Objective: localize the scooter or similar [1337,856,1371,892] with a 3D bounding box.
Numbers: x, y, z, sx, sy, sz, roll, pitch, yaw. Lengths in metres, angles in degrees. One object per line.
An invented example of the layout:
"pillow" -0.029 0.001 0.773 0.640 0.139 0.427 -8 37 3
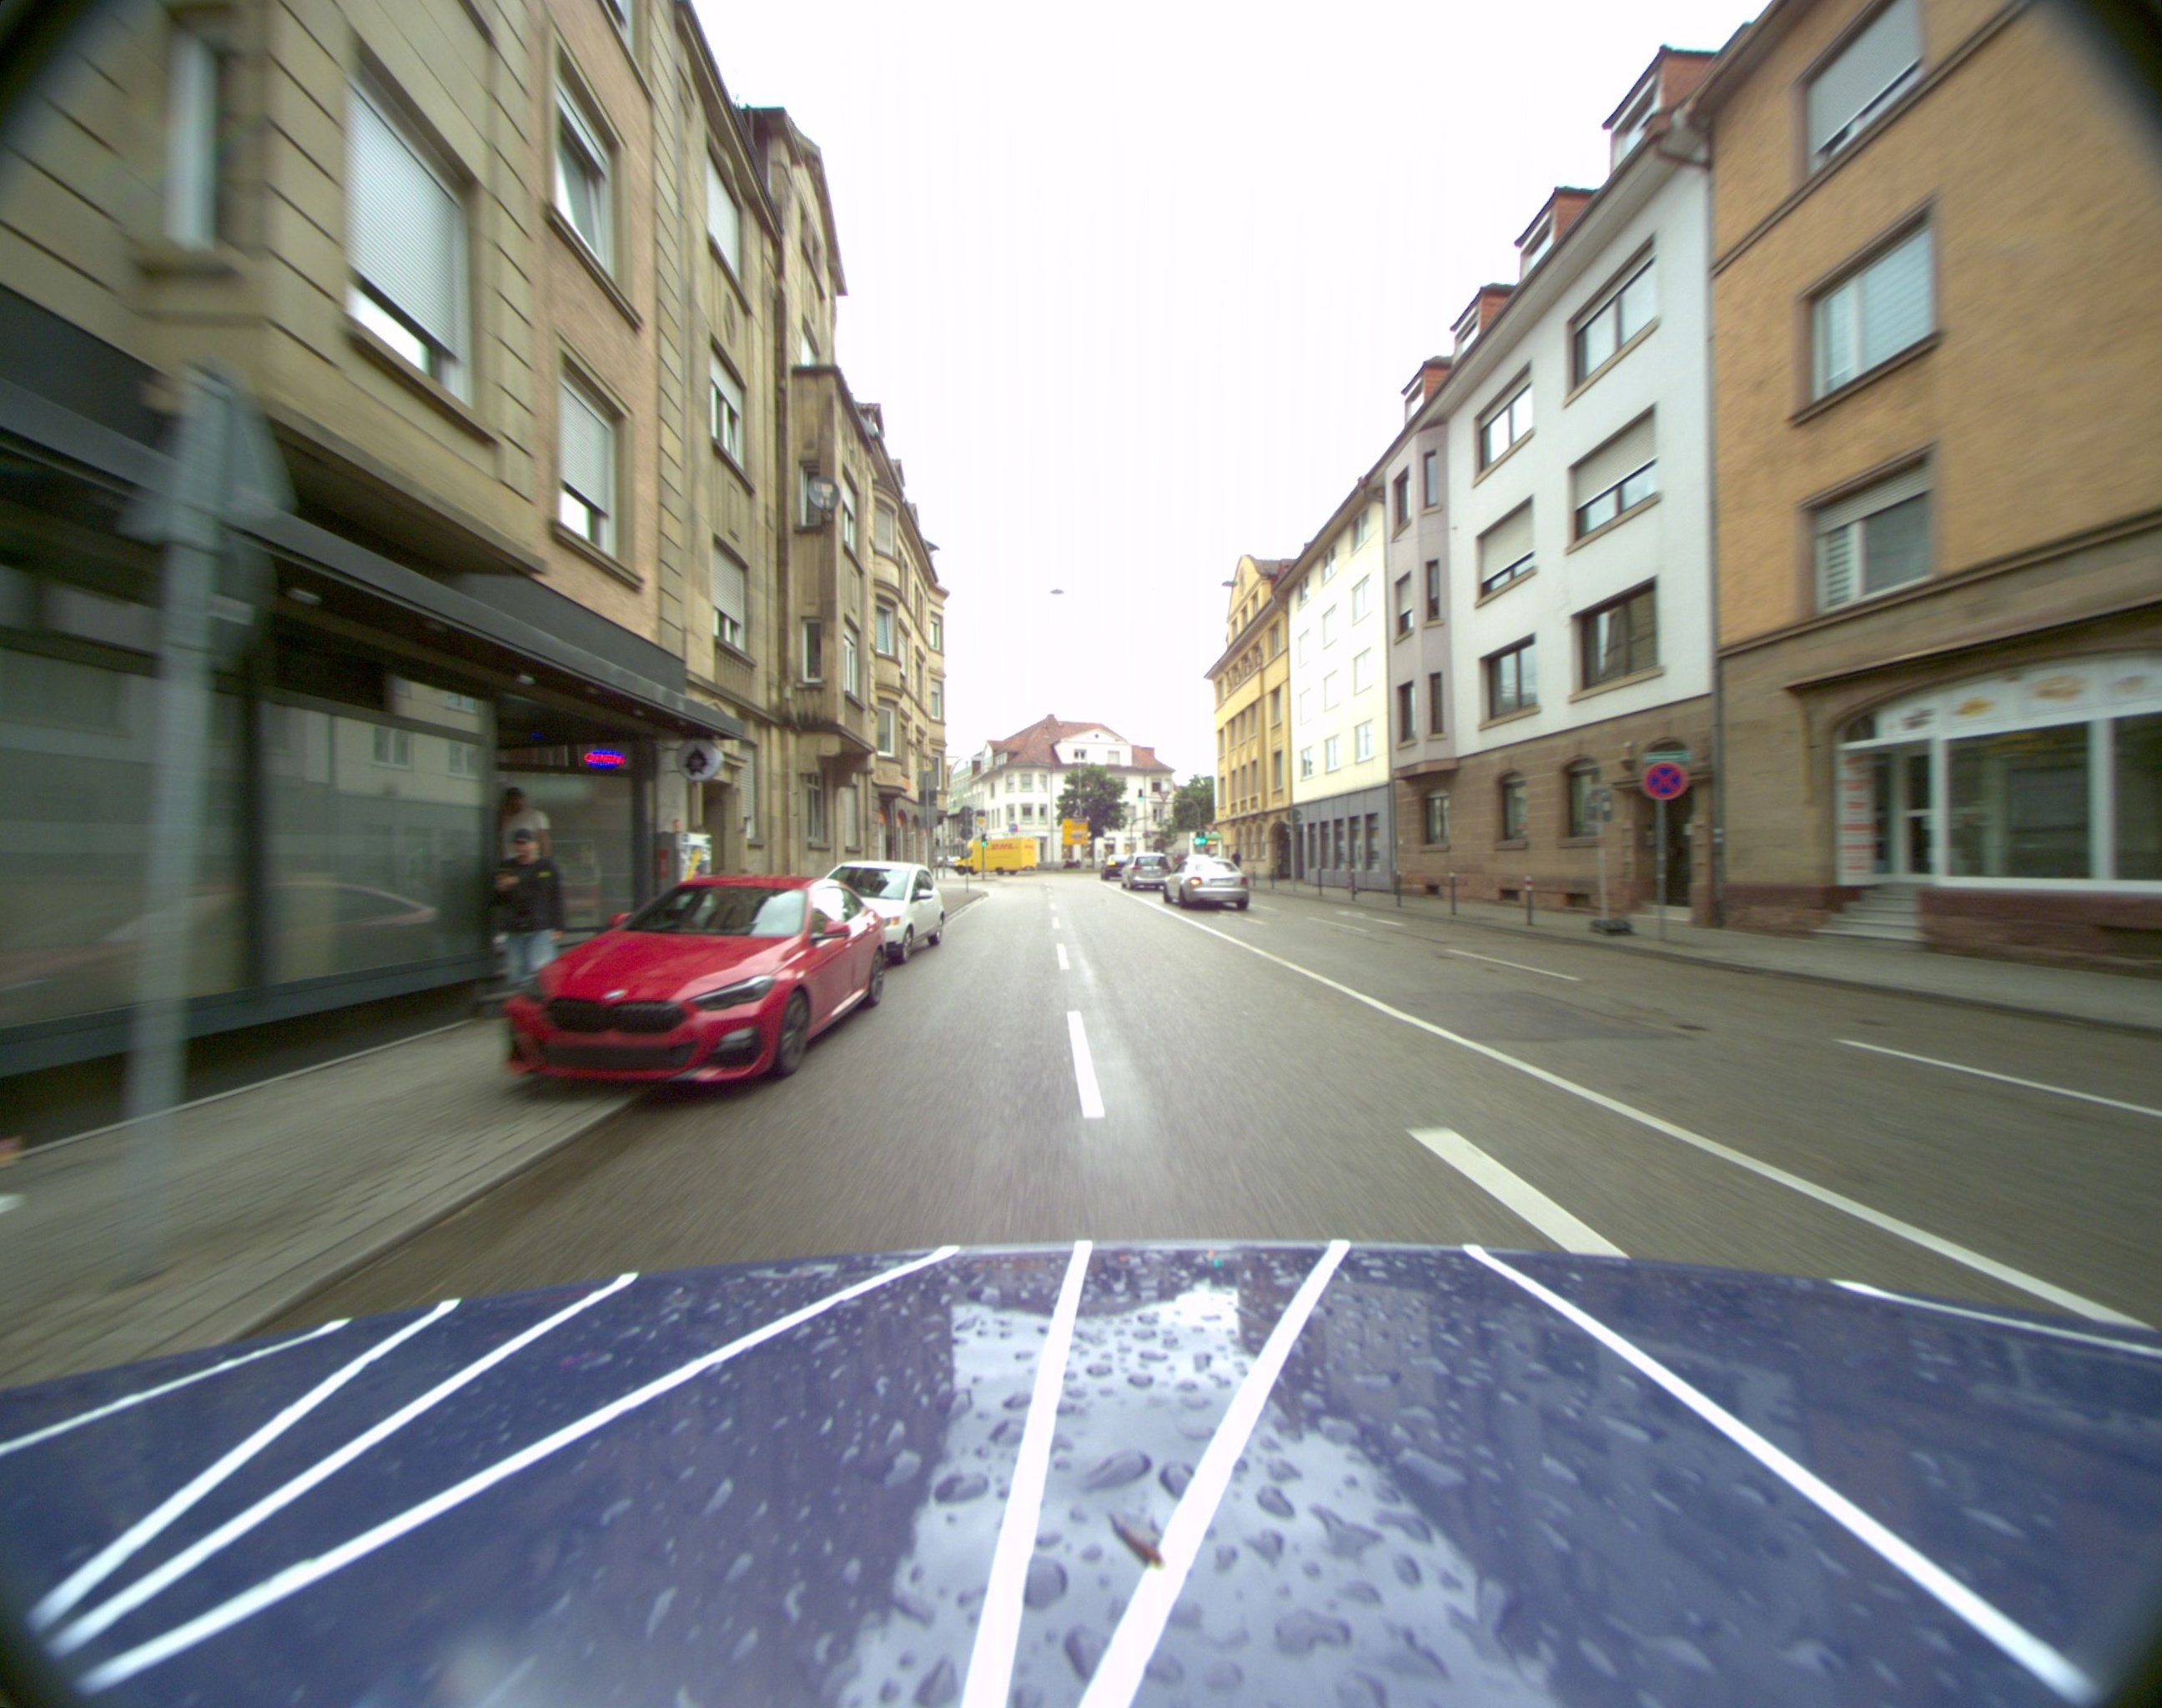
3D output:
"scooter or similar" 9.684 0.686 27.029 0.462 1.206 1.578 -5 1 -4

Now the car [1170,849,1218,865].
"car" 10.879 0.282 73.232 4.043 1.509 2.021 -1 1 -21

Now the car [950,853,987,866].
"car" -13.667 0.631 92.159 4.005 1.499 1.996 -1 1 -24

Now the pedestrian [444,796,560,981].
"pedestrian" -6.142 0.345 8.096 0.705 1.883 0.649 -1 1 -5

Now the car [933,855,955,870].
"car" -18.038 1.103 99.874 2.001 1.576 3.992 -7 3 -22

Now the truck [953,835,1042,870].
"truck" -6.707 -0.112 60.906 7.005 2.734 2.239 0 1 28

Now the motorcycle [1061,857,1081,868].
"motorcycle" -1.110 0.902 82.158 2.015 1.142 0.718 -1 1 -20

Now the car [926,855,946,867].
"car" -20.163 0.937 105.288 2.002 1.576 3.992 -1 1 -22

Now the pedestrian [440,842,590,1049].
"pedestrian" -5.107 0.779 6.915 0.746 1.769 0.795 -1 1 -5

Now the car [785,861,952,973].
"car" -3.379 0.910 12.957 1.652 1.485 4.447 0 1 -1

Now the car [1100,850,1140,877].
"car" 2.372 0.538 46.938 1.948 1.574 4.603 0 1 -3

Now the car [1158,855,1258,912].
"car" 3.635 0.782 22.616 1.948 1.462 4.557 0 1 -3

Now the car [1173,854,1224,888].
"car" 6.118 0.843 40.071 1.986 1.586 4.337 0 1 0

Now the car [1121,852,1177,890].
"car" 3.010 0.701 34.469 1.948 1.574 4.519 0 1 -3

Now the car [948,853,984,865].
"car" -14.341 0.609 94.645 4.005 1.499 1.996 -1 1 -24

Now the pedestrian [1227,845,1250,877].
"pedestrian" 9.108 0.406 43.913 0.895 1.761 1.032 -5 1 -5

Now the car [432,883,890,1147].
"car" -2.981 1.018 6.593 1.749 1.361 4.313 0 0 -3
